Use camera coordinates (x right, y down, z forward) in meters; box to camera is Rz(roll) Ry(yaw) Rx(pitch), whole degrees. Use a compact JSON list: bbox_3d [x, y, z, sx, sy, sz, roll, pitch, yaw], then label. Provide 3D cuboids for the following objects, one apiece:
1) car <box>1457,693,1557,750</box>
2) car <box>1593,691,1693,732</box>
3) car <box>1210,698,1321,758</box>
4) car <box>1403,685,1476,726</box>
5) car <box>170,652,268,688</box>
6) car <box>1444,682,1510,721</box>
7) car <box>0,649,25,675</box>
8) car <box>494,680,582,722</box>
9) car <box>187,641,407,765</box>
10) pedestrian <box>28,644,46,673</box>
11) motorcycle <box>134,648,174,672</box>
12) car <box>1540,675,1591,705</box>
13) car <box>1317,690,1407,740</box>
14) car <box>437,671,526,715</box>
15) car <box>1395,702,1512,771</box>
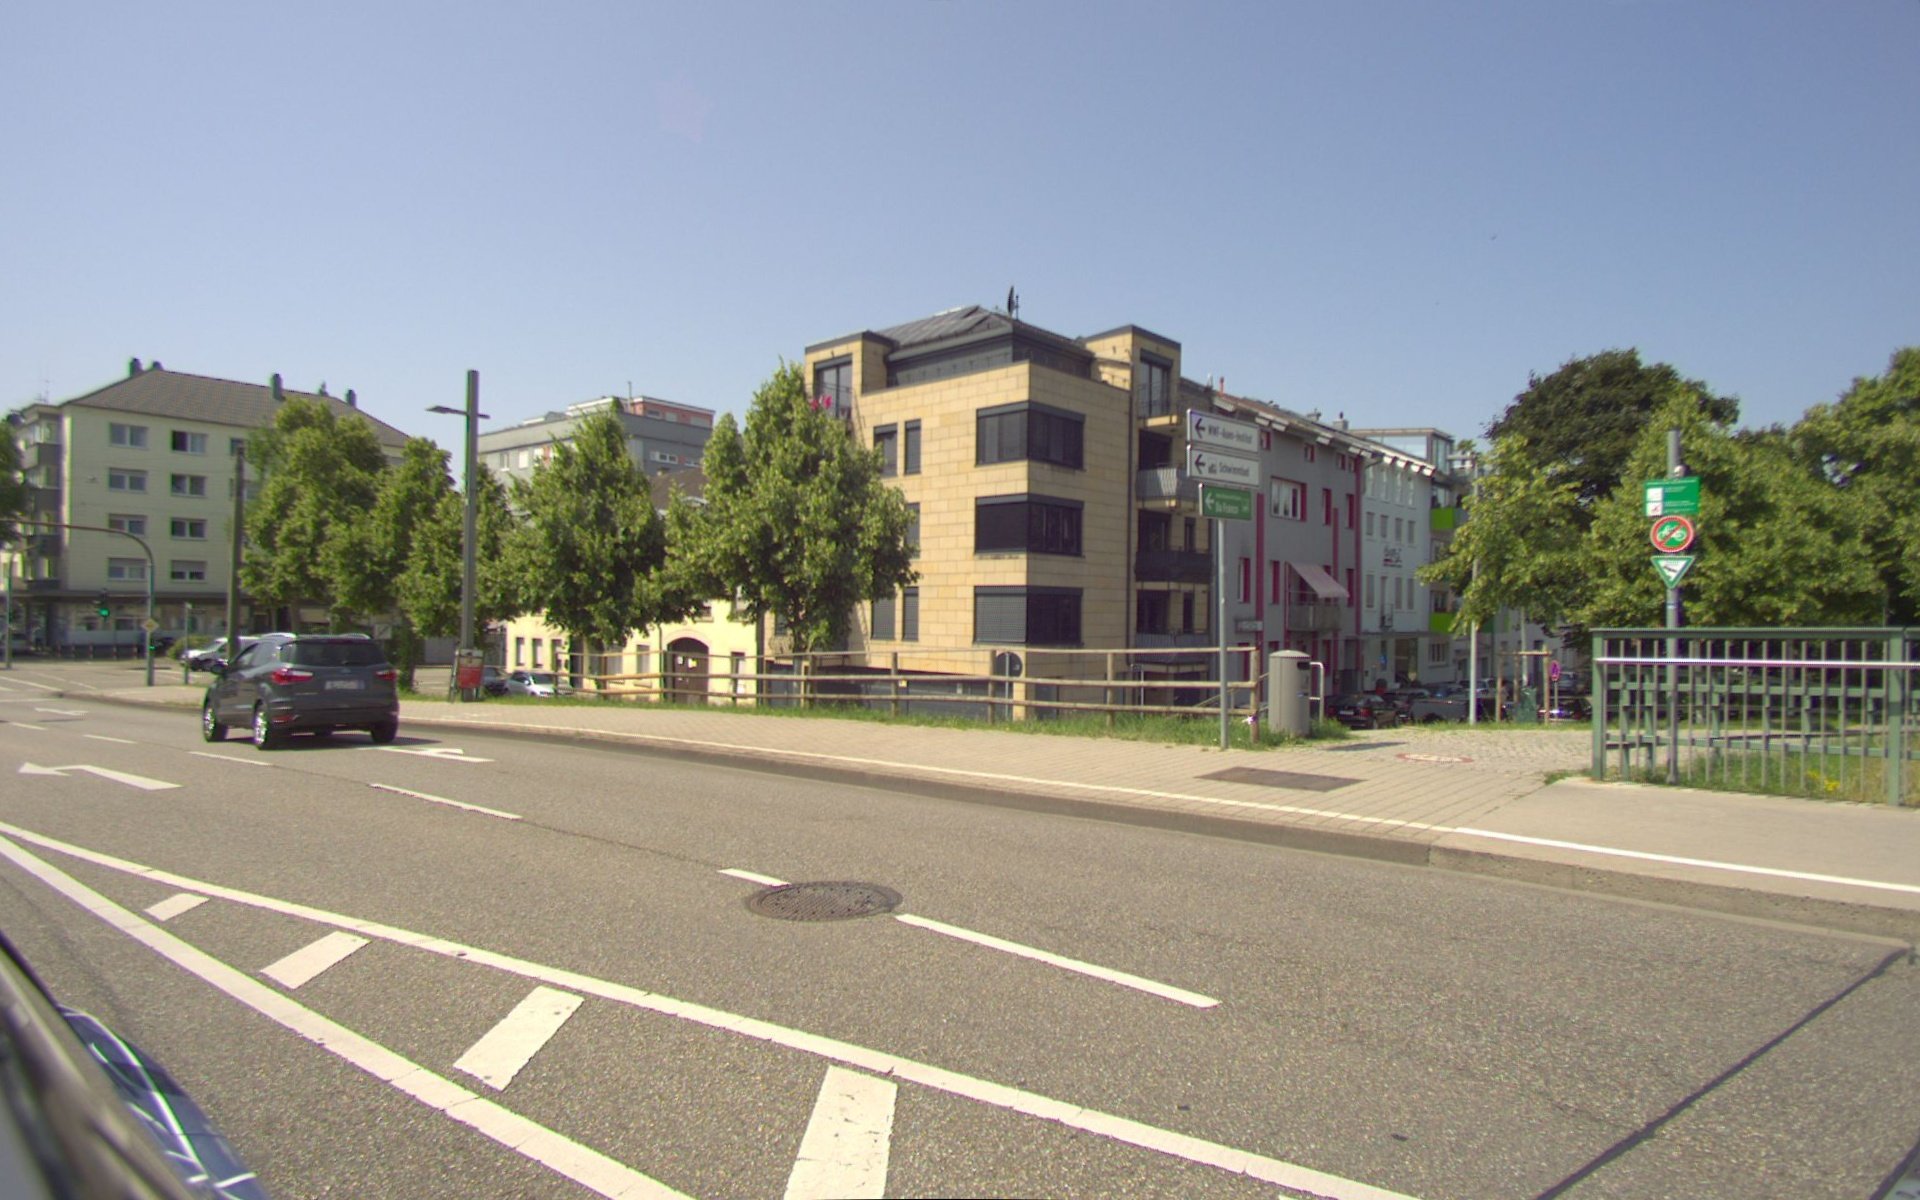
[{"bbox_3d":[18.236,3.980,33.660,2.000,1.662,3.943,-3,-5,43],"label":"car"},{"bbox_3d":[30.524,4.950,45.214,3.931,1.662,2.006,2,-4,-27],"label":"car"},{"bbox_3d":[9.990,4.111,32.972,1.999,1.662,3.945,-2,-5,41],"label":"car"},{"bbox_3d":[21.916,4.775,46.208,1.999,1.662,3.945,-2,-5,41],"label":"car"},{"bbox_3d":[-38.880,3.673,53.187,1.889,1.748,3.655,0,-4,34],"label":"car"},{"bbox_3d":[25.742,5.023,50.363,1.999,1.662,3.945,-2,-3,41],"label":"car"},{"bbox_3d":[-58.700,3.761,61.824,3.931,1.470,1.568,0,-2,36],"label":"car"},{"bbox_3d":[-17.739,4.191,42.434,4.430,1.443,1.756,-3,-2,43],"label":"car"},{"bbox_3d":[-10.190,1.471,15.469,3.918,1.653,1.719,-2,-4,40],"label":"car"},{"bbox_3d":[-57.677,3.640,63.249,0.741,1.773,0.621,-1,-2,35],"label":"pedestrian"},{"bbox_3d":[-52.249,3.863,65.608,0.713,1.431,1.897,1,0,36],"label":"motorcycle"},{"bbox_3d":[37.331,5.517,62.397,1.999,1.662,3.945,-2,-3,41],"label":"car"},{"bbox_3d":[15.386,4.344,38.632,1.999,1.662,3.945,-2,-5,41],"label":"car"},{"bbox_3d":[-21.890,4.206,46.187,5.287,1.641,1.794,-1,-4,43],"label":"car"},{"bbox_3d":[14.335,3.882,29.304,2.000,1.662,3.943,-3,-5,43],"label":"car"}]
